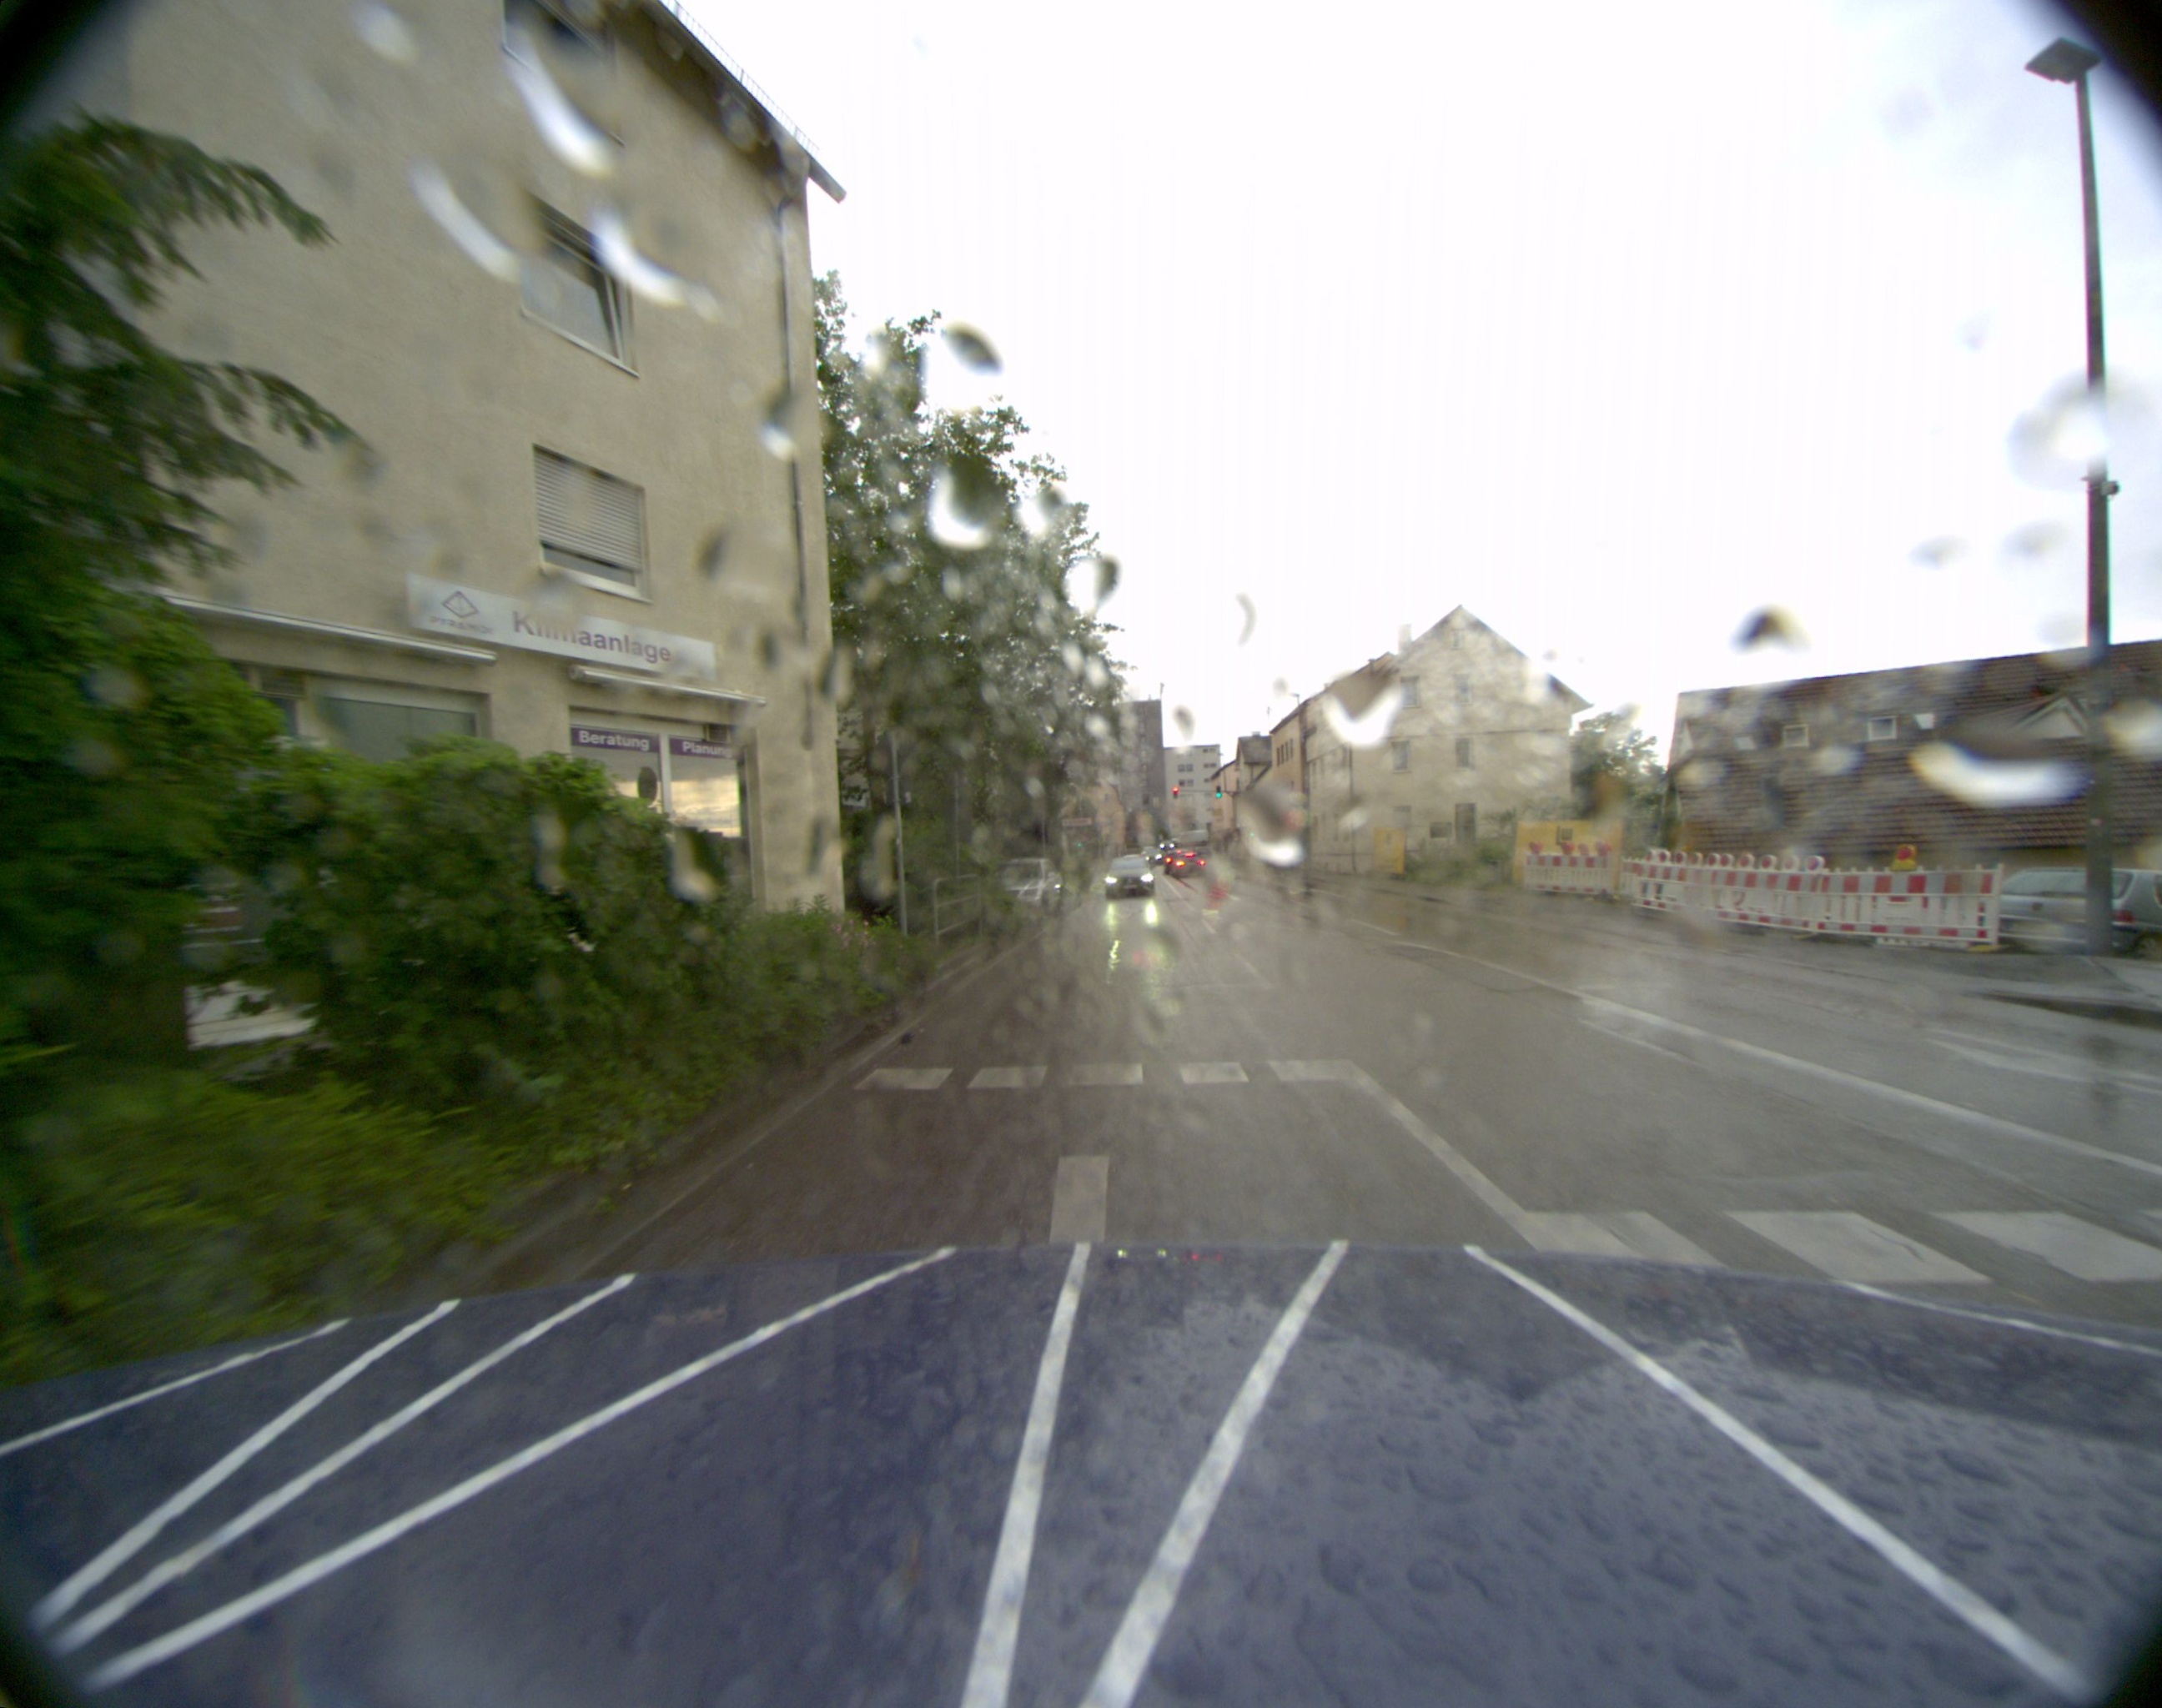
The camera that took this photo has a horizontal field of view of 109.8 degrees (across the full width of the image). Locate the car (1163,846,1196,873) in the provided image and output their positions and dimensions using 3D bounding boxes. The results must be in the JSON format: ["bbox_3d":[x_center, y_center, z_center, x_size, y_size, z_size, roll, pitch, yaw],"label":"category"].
[{"bbox_3d":[6.686,0.379,51.910,1.820,1.635,4.277,-3,0,3],"label":"car"}]

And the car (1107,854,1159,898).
[{"bbox_3d":[2.026,0.815,30.266,1.820,1.562,4.276,-3,0,3],"label":"car"}]

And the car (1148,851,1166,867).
[{"bbox_3d":[7.499,0.450,74.837,1.686,1.452,4.001,-3,0,5],"label":"car"}]

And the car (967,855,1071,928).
[{"bbox_3d":[-1.577,0.944,21.252,1.934,1.770,4.736,-2,0,7],"label":"car"}]

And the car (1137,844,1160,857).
[{"bbox_3d":[8.222,-0.461,92.762,1.684,1.452,4.005,-3,0,22],"label":"car"}]

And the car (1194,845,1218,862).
[{"bbox_3d":[11.575,-0.061,70.620,1.820,1.562,4.276,-2,0,4],"label":"car"}]

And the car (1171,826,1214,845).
[{"bbox_3d":[18.327,-3.008,124.856,6.425,2.506,2.673,-4,0,-17],"label":"car"}]

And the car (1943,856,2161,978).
[{"bbox_3d":[13.781,0.890,9.847,3.509,1.382,1.651,5,-2,-5],"label":"car"}]

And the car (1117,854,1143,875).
[{"bbox_3d":[3.488,0.727,54.934,1.686,1.413,4.000,-3,0,2],"label":"car"}]

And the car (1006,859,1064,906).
[{"bbox_3d":[-1.621,0.989,27.945,1.714,1.563,3.915,-2,0,2],"label":"car"}]

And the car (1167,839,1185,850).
[{"bbox_3d":[14.067,-1.462,112.721,1.547,1.525,3.694,-3,0,25],"label":"car"}]

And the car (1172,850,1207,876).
[{"bbox_3d":[6.453,0.497,45.438,1.711,1.375,3.670,-3,0,4],"label":"car"}]
